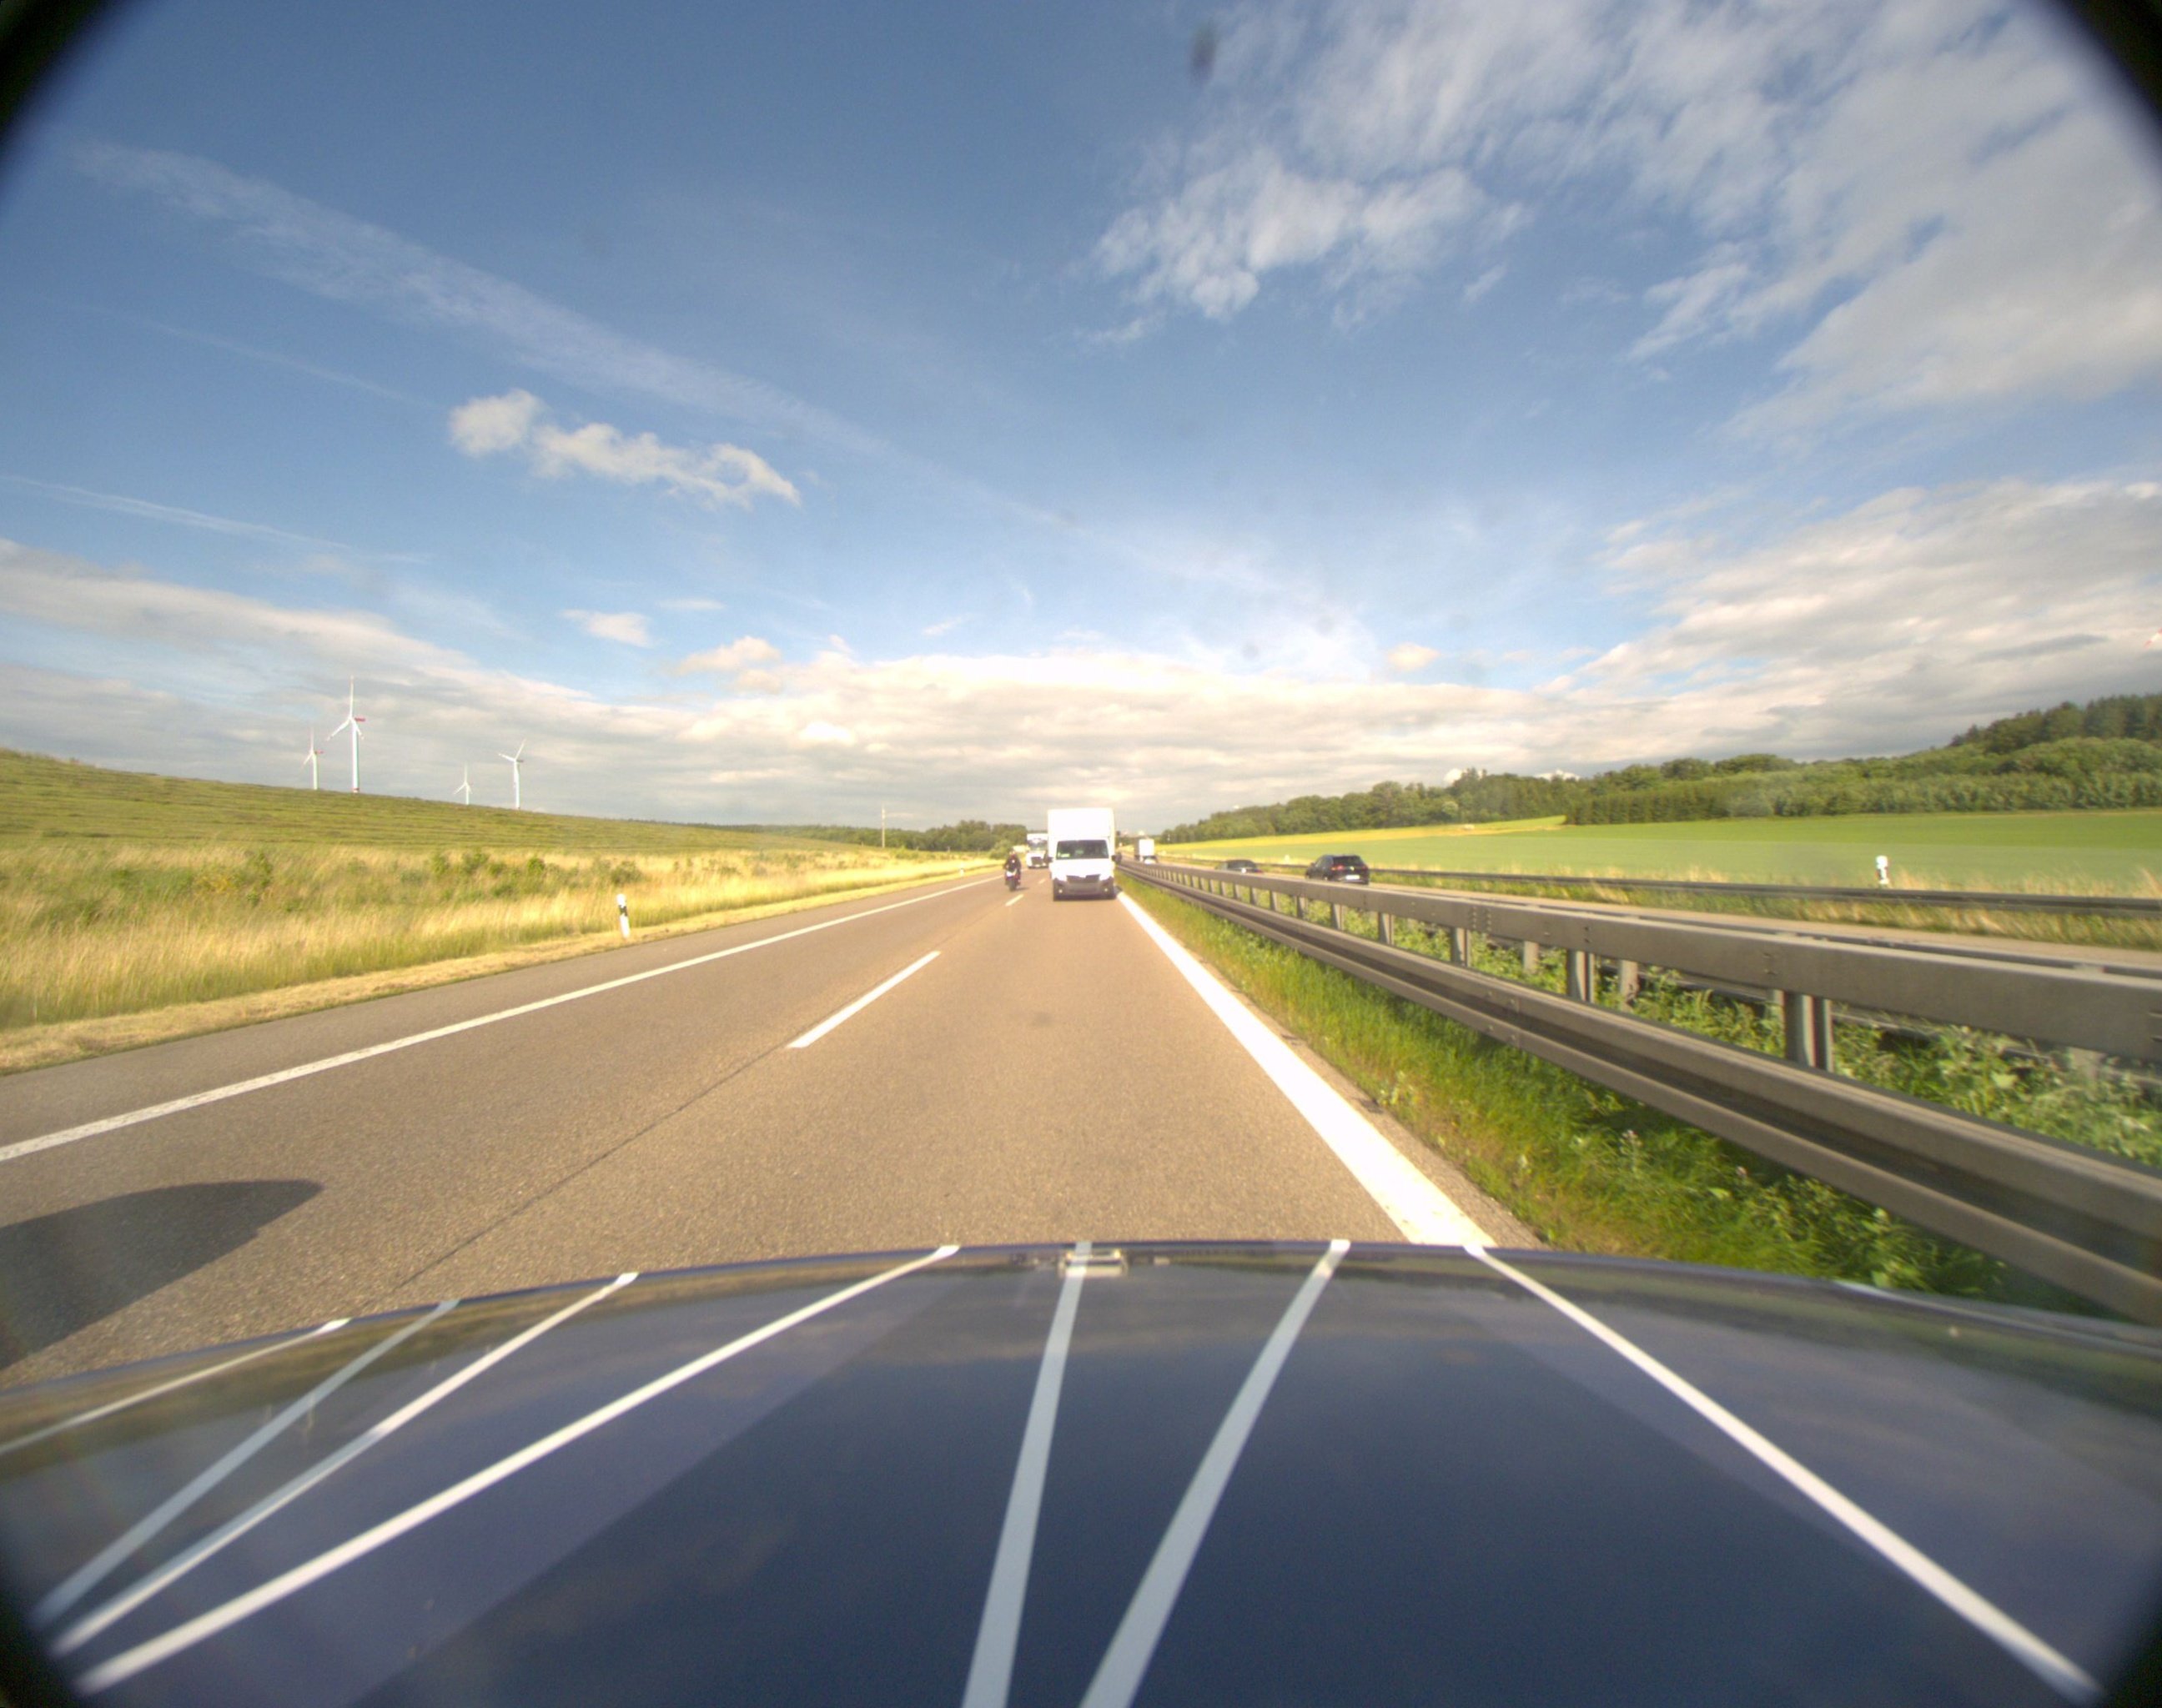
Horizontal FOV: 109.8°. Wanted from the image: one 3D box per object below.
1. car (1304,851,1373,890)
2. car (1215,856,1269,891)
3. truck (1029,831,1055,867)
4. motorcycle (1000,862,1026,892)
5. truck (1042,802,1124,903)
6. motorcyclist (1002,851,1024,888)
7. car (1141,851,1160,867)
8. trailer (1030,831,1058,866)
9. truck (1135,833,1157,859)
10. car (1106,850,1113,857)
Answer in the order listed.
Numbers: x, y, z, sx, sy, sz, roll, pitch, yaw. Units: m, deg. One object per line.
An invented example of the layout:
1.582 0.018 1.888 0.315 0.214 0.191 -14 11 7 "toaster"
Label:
11.240 0.680 33.431 1.619 1.512 3.999 -2 1 -1 "car"
7.420 0.855 35.335 1.619 1.384 3.999 -2 1 -1 "car"
-4.584 -0.642 89.991 2.607 4.018 6.118 -3 1 0 "truck"
-2.997 0.994 33.588 0.898 1.183 2.256 -2 1 0 "motorcycle"
0.030 -0.049 29.860 2.502 3.141 11.162 -2 0 0 "truck"
-3.011 0.674 33.626 0.852 1.551 0.934 -2 1 0 "motorcyclist"
7.417 0.502 81.529 1.619 1.576 4.064 -2 1 -1 "car"
-4.589 -0.778 97.157 2.623 4.018 13.695 -3 1 0 "trailer"
12.413 -1.529 146.172 2.887 4.608 13.421 -2 1 0 "truck"
7.132 -0.141 189.865 1.708 1.482 3.999 -2 1 0 "car"
